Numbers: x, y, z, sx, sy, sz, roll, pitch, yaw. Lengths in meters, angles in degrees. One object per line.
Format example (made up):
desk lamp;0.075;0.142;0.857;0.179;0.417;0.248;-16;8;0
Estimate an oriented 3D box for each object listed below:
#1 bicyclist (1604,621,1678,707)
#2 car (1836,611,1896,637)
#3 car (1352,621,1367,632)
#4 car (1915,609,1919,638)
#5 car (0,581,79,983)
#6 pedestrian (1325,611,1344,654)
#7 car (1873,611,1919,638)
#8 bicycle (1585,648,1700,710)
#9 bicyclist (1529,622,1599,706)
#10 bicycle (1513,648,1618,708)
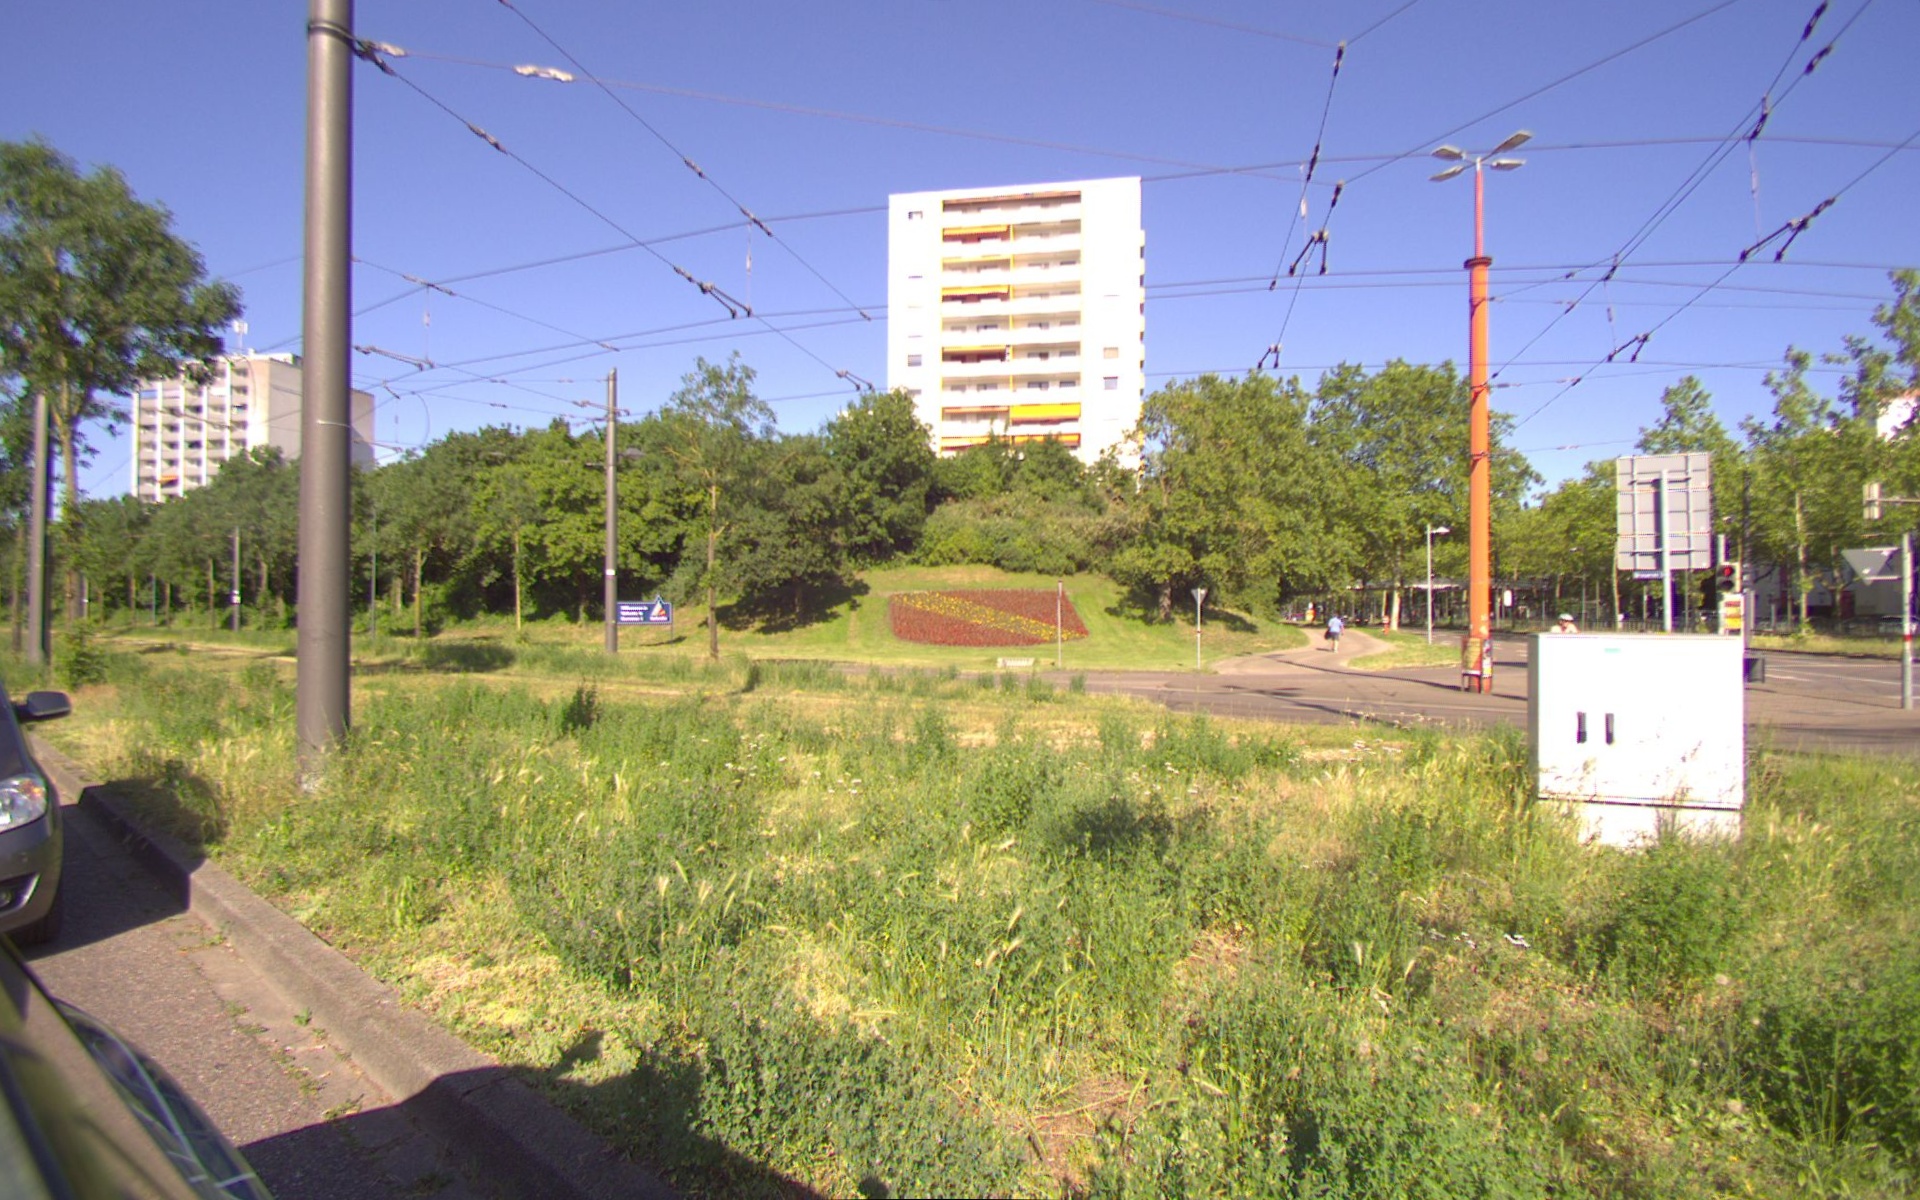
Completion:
bicyclist;13.361;1.247;19.874;0.920;1.650;0.741;0;-1;-1
car;66.025;1.718;73.751;3.931;1.829;2.006;1;-2;-27
car;61.270;4.023;155.304;1.928;1.606;3.882;-1;-1;20
car;64.415;1.523;65.893;3.931;1.829;2.006;1;-2;-27
car;-5.933;0.757;5.036;4.382;1.619;1.754;-1;-2;41
pedestrian;17.018;1.478;45.989;0.729;1.949;0.726;-1;-2;24
car;65.257;1.661;69.855;3.931;1.829;2.006;1;-2;-27
bicycle;13.364;1.527;19.908;0.915;1.095;1.888;0;-1;-2
bicyclist;12.103;1.264;20.293;0.920;1.650;0.741;0;-1;-1
bicycle;12.099;1.542;20.310;0.915;1.095;1.888;0;-1;-2
